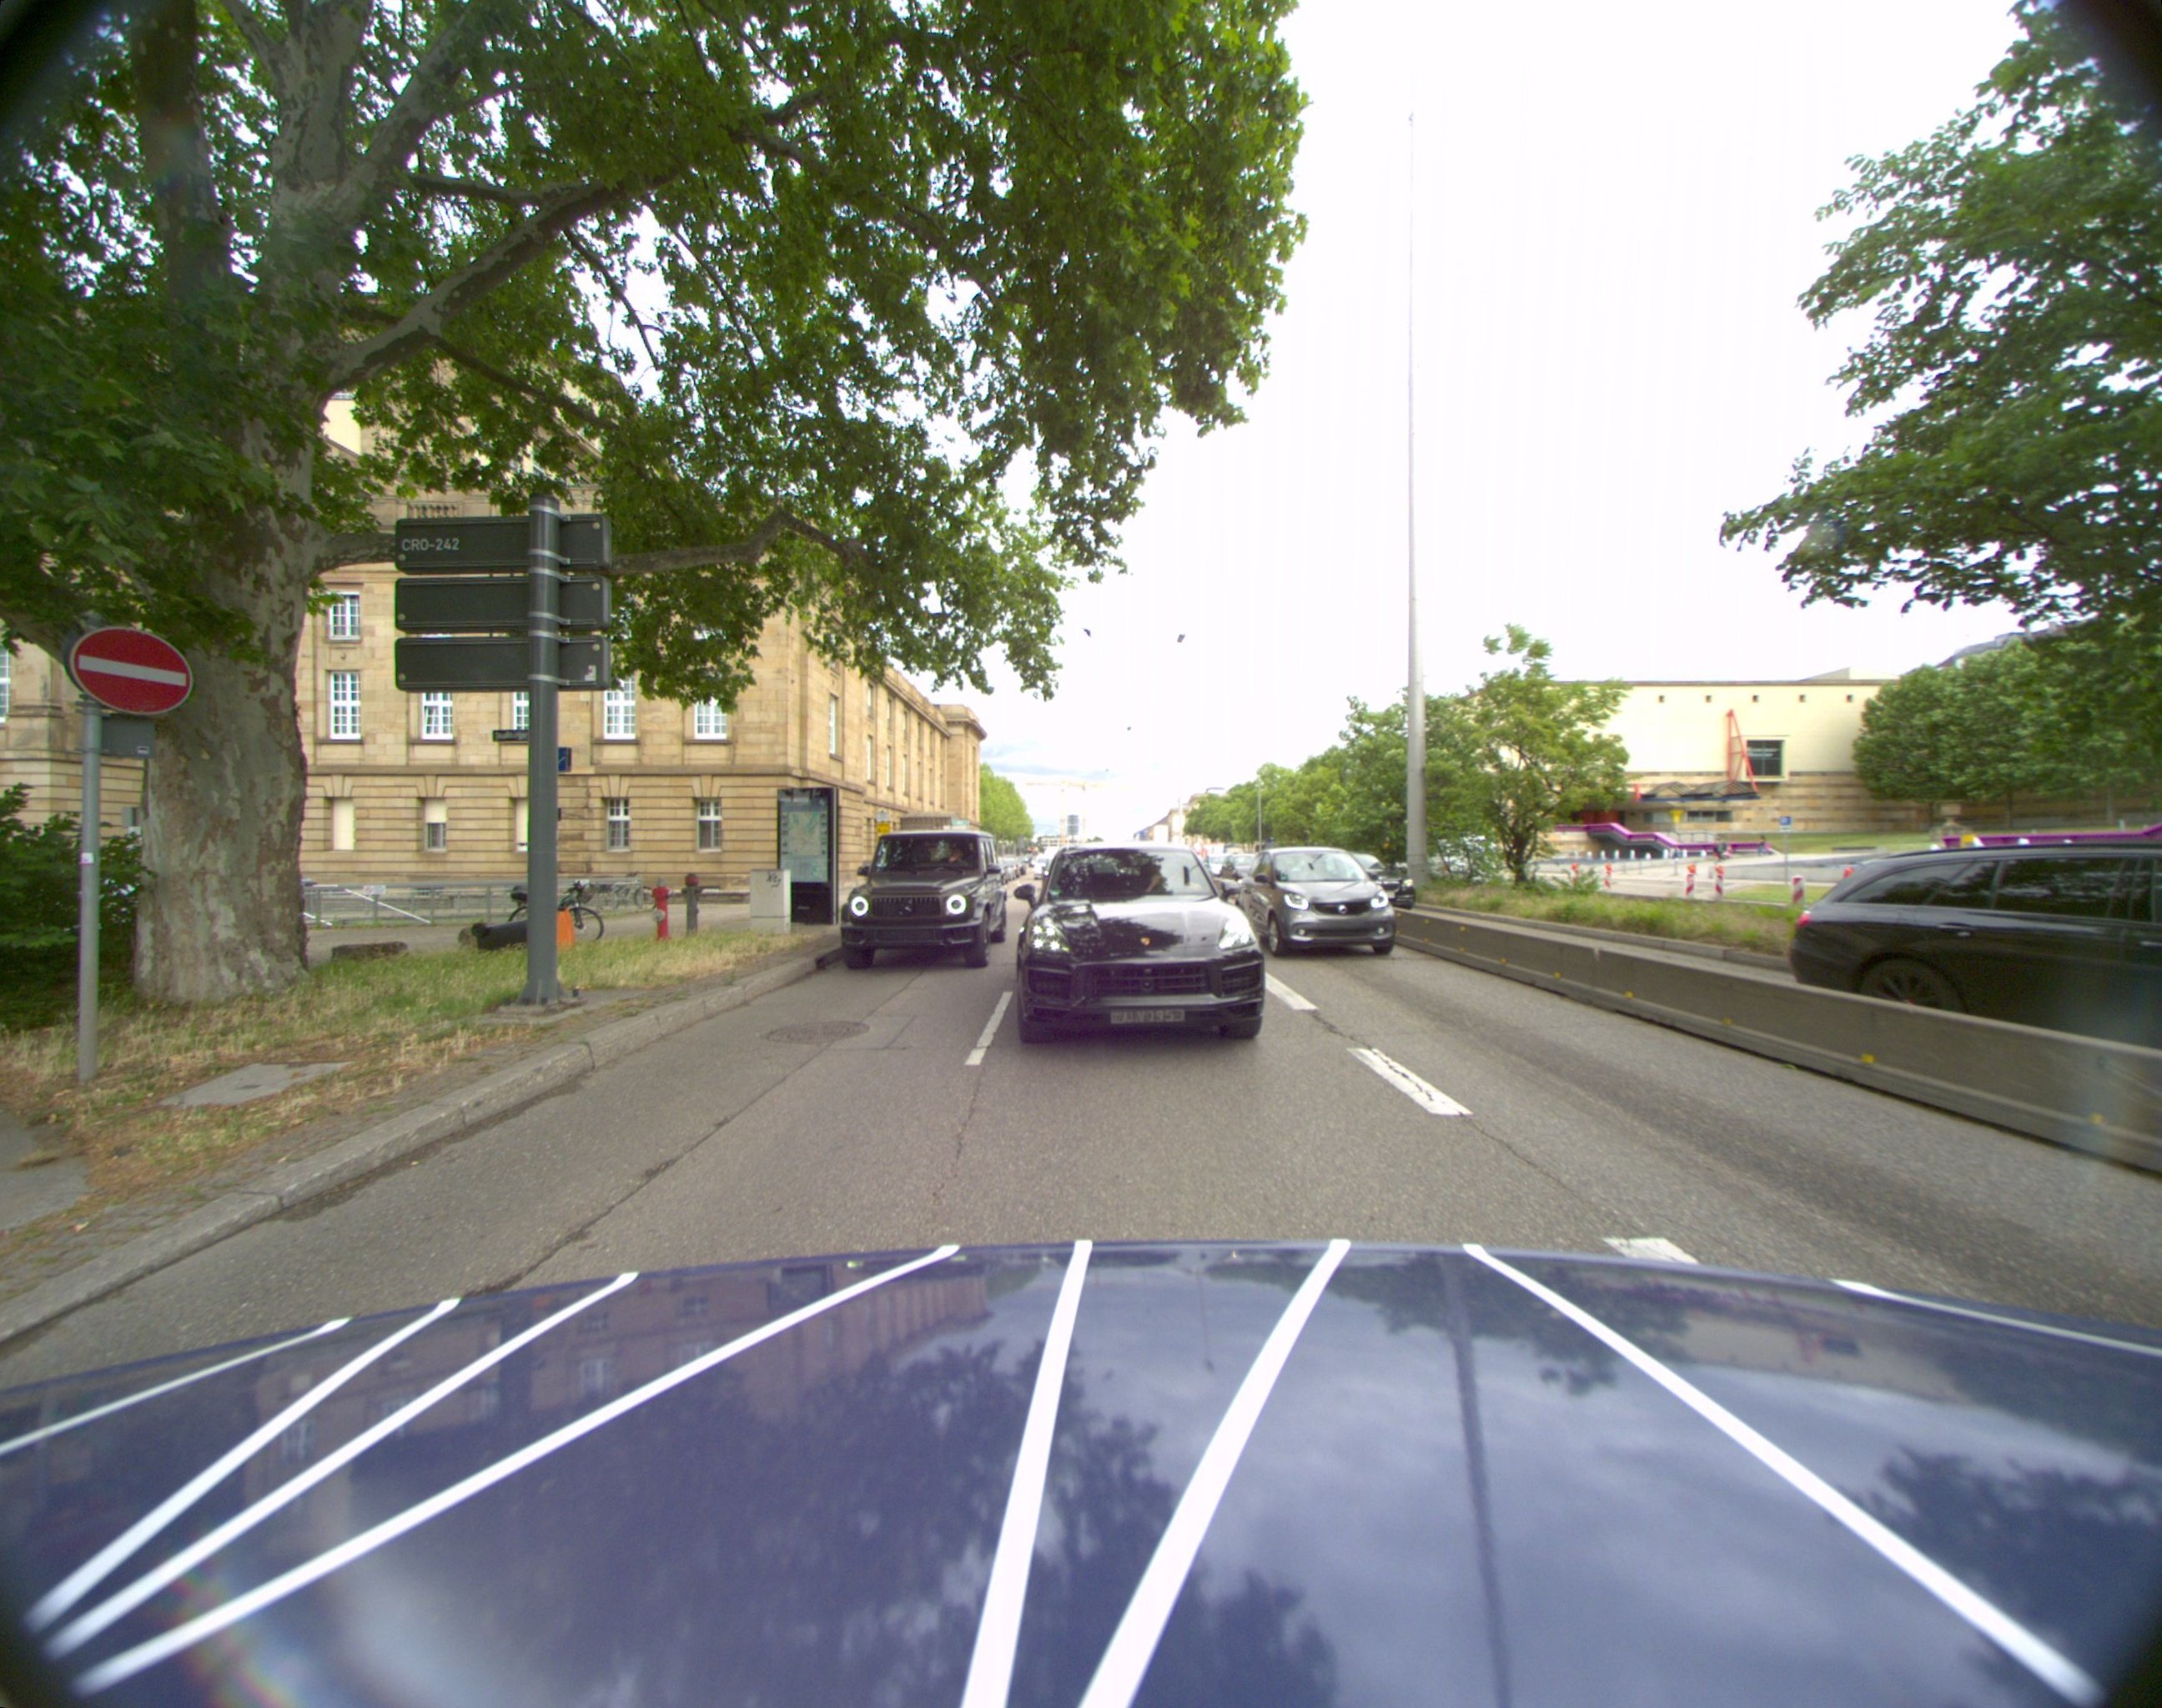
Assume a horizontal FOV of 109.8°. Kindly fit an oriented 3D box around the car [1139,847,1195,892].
[{"bbox_3d":[3.366,0.566,30.368,1.690,1.646,3.999,-1,1,-1],"label":"car"}]

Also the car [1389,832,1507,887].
[{"bbox_3d":[14.431,0.190,30.306,2.121,1.958,5.578,0,0,1],"label":"car"}]

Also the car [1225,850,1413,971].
[{"bbox_3d":[3.448,0.722,11.786,1.690,1.496,4.000,-1,1,1],"label":"car"}]

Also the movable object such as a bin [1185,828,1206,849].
[{"bbox_3d":[12.253,-1.613,81.350,1.526,2.172,3.291,0,0,-4],"label":"movable object such as a bin"}]

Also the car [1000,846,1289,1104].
[{"bbox_3d":[0.213,0.771,7.046,1.909,1.648,4.198,0,0,-6],"label":"car"}]

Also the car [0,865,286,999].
[{"bbox_3d":[-13.242,0.966,9.980,3.845,1.559,1.679,-1,0,1],"label":"car"}]

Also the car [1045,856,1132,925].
[{"bbox_3d":[0.173,0.812,18.855,1.930,1.501,4.000,0,0,0],"label":"car"}]

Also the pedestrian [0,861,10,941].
[{"bbox_3d":[-23.568,1.021,16.107,0.681,1.712,0.704,0,1,-1],"label":"pedestrian"}]

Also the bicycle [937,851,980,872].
[{"bbox_3d":[-5.270,0.330,32.793,1.730,0.912,0.614,0,1,19],"label":"bicycle"}]

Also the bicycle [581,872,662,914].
[{"bbox_3d":[-12.926,1.097,21.385,2.016,1.119,0.389,-1,1,0],"label":"bicycle"}]

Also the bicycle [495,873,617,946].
[{"bbox_3d":[-9.056,0.958,13.139,1.789,1.214,0.492,-1,1,4],"label":"bicycle"}]

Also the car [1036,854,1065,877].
[{"bbox_3d":[-2.155,0.755,53.185,1.931,1.501,3.999,0,0,-2],"label":"car"}]

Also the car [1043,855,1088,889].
[{"bbox_3d":[-0.759,0.788,35.303,1.931,1.501,3.999,0,0,-2],"label":"car"}]

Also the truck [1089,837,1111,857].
[{"bbox_3d":[2.612,-0.948,107.674,2.978,2.757,7.254,0,0,0],"label":"truck"}]

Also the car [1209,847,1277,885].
[{"bbox_3d":[6.633,0.442,31.550,1.664,1.446,4.196,-1,1,-4],"label":"car"}]

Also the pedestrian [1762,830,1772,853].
[{"bbox_3d":[49.055,-0.874,54.310,0.348,1.602,0.405,-2,1,1],"label":"pedestrian"}]

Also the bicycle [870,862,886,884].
[{"bbox_3d":[-9.901,0.929,37.058,0.241,0.992,1.962,0,1,0],"label":"bicycle"}]

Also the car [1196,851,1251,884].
[{"bbox_3d":[6.974,0.647,37.552,1.677,1.498,3.852,-1,1,-5],"label":"car"}]

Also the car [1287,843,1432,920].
[{"bbox_3d":[6.712,0.576,18.976,1.928,1.626,4.936,-1,1,2],"label":"car"}]

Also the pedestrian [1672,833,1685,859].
[{"bbox_3d":[42.354,-0.567,53.880,0.692,1.842,0.805,-1,2,39],"label":"pedestrian"}]

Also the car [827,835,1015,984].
[{"bbox_3d":[-2.254,0.712,11.993,1.952,1.914,4.399,0,0,1],"label":"car"}]

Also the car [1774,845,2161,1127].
[{"bbox_3d":[6.701,0.709,3.947,1.821,1.490,4.768,-1,1,0],"label":"car"}]

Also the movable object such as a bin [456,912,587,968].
[{"bbox_3d":[-7.739,1.180,10.544,1.301,0.648,0.729,-2,1,9],"label":"movable object such as a bin"}]

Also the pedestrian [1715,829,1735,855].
[{"bbox_3d":[45.515,-0.849,53.731,0.693,1.842,0.804,-2,1,1],"label":"pedestrian"}]
